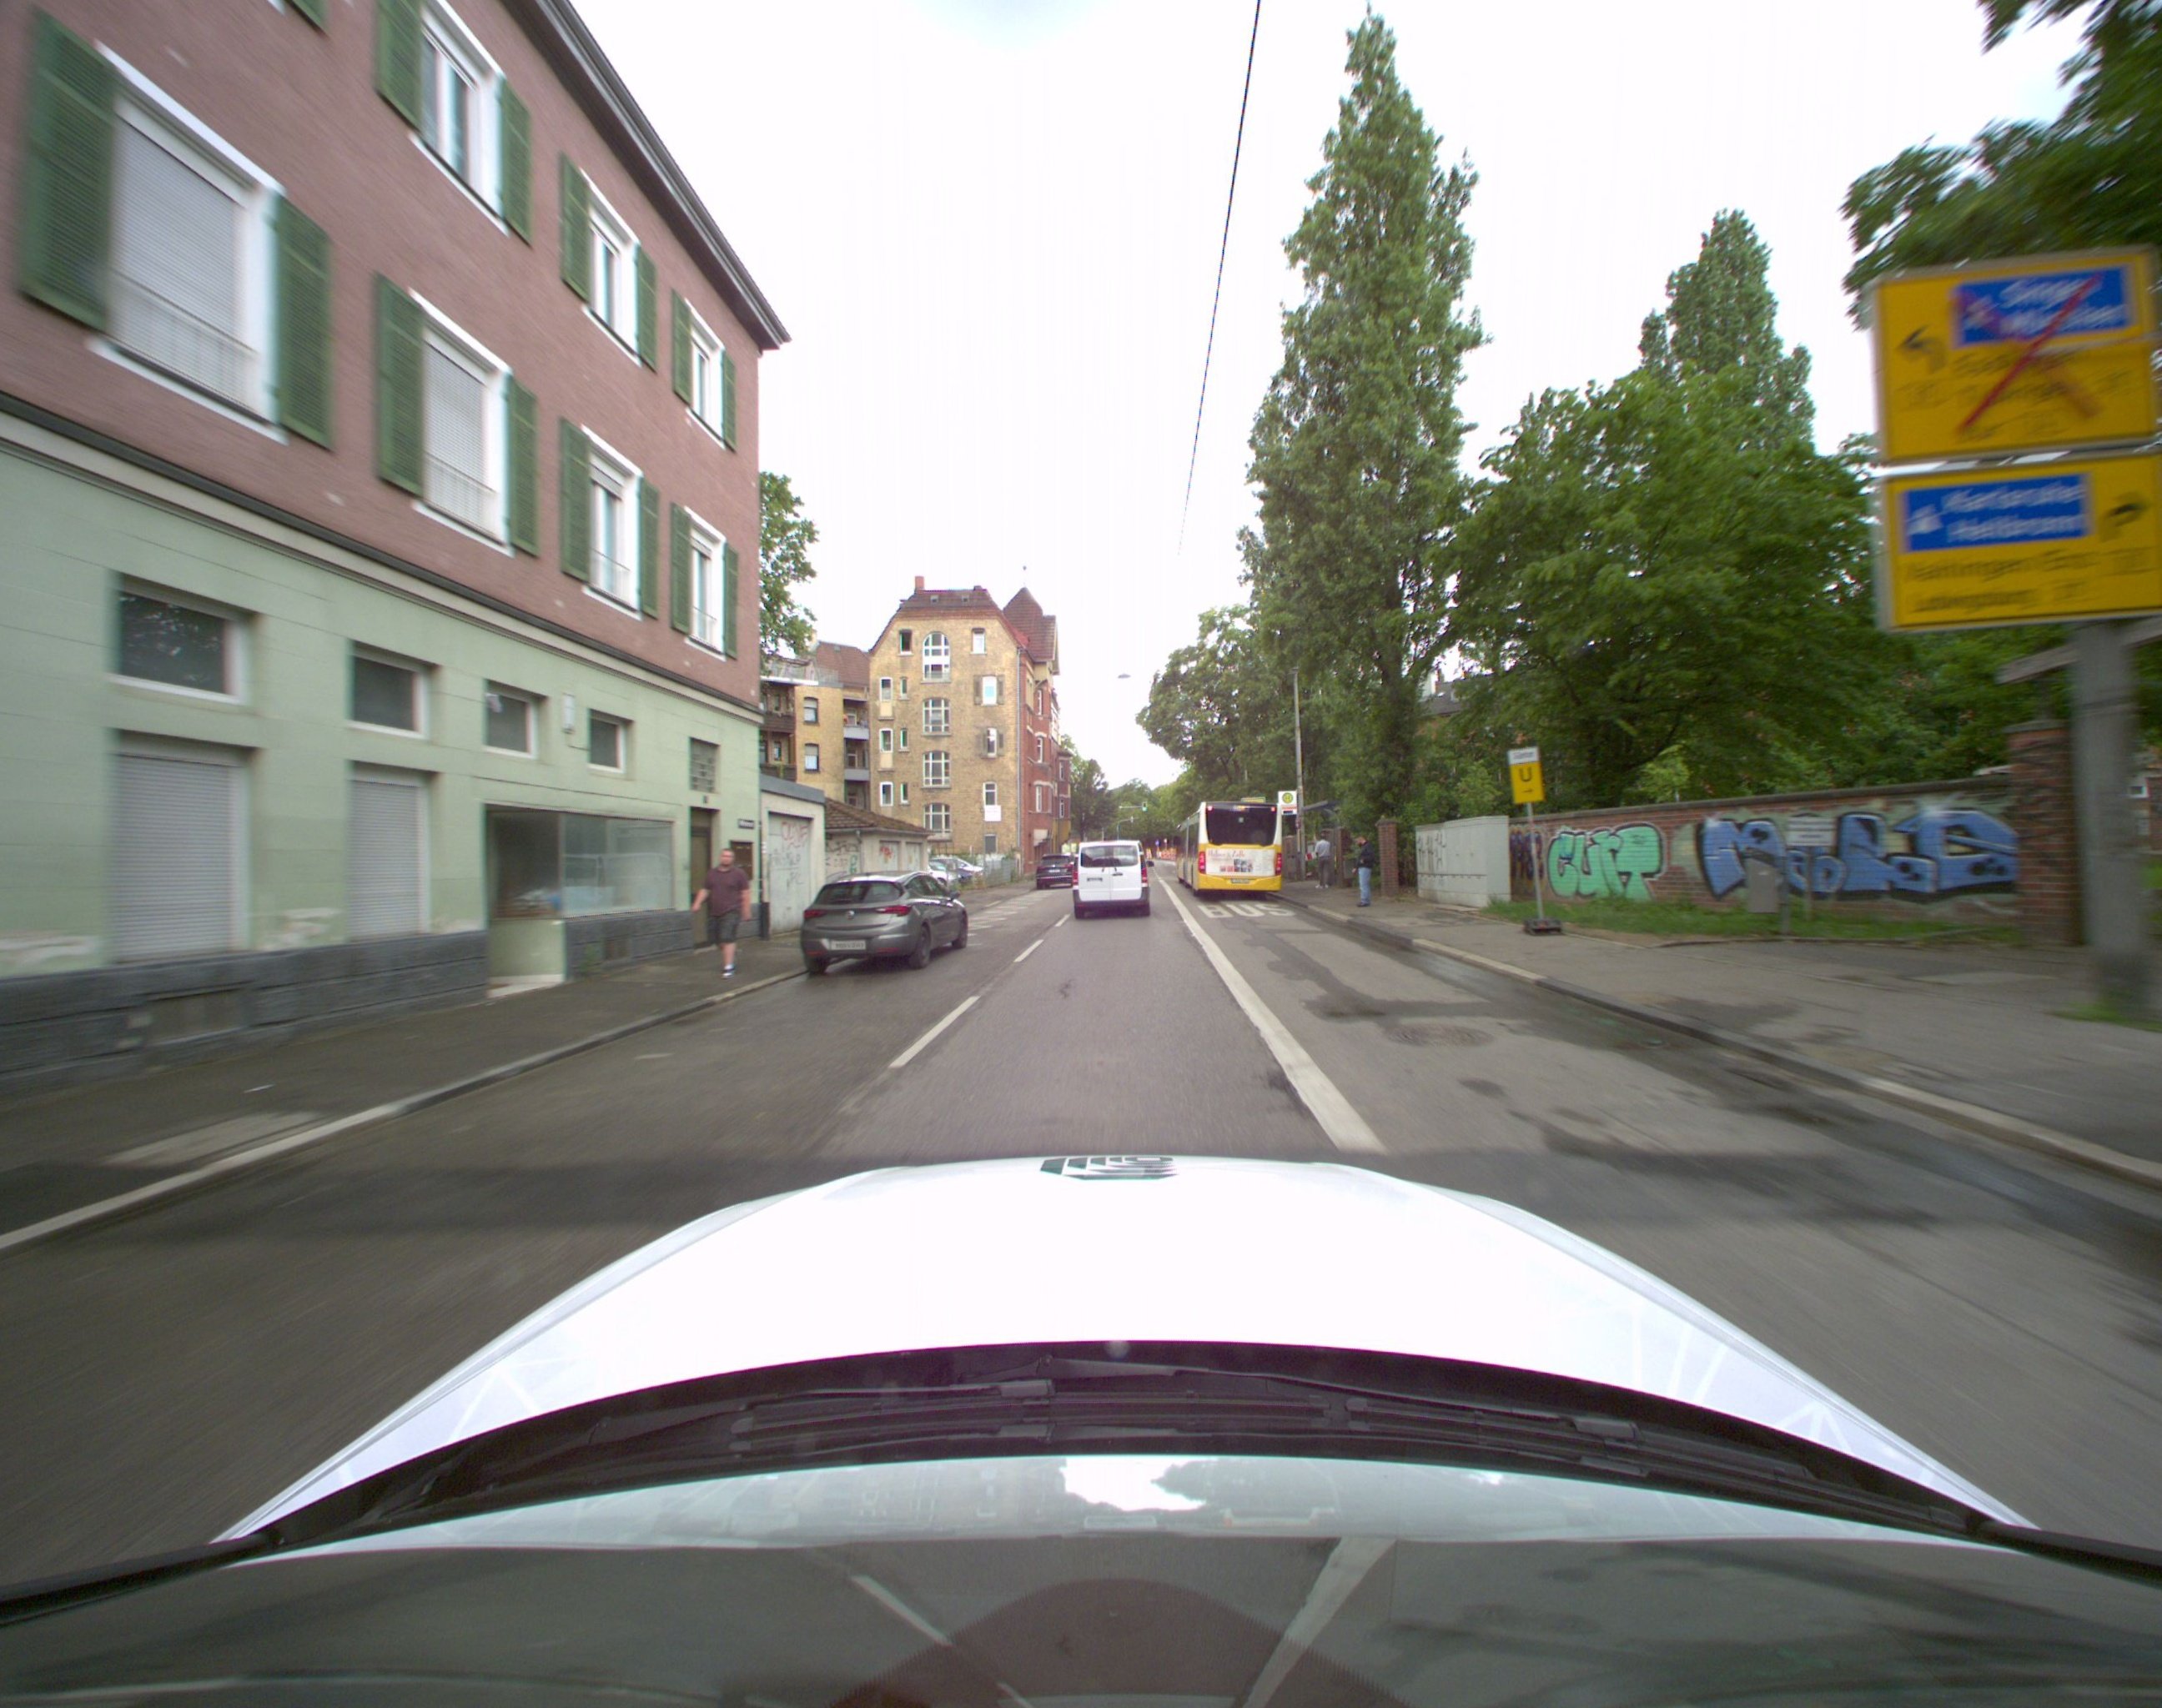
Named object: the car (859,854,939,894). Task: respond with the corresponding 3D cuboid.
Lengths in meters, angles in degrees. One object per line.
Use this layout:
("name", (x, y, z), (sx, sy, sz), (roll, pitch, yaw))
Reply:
("car", (-7.804, 0.843, 35.116), (2.834, 1.565, 1.856), (-3, 0, 4))

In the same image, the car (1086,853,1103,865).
("car", (1.819, 0.667, 110.358), (2.033, 1.485, 4.385), (-1, 2, -4))

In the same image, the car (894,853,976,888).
("car", (-7.261, 0.799, 40.697), (3.579, 1.504, 1.856), (-3, 0, 4))

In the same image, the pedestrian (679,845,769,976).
("pedestrian", (-4.973, 0.758, 11.412), (0.758, 1.744, 0.985), (1, -1, 2))

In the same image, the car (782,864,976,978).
("car", (-3.074, 0.957, 13.372), (1.870, 1.486, 4.132), (0, 0, 4))

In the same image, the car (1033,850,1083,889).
("car", (-1.052, 0.709, 40.283), (1.945, 1.734, 4.779), (-1, 0, 4))

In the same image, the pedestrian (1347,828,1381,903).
("pedestrian", (6.902, 0.283, 19.873), (0.579, 1.779, 0.822), (0, -1, 4))

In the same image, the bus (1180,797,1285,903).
("bus", (5.115, -0.130, 29.241), (2.650, 3.136, 10.053), (0, 0, 5))

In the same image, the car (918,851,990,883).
("car", (-7.134, 0.714, 45.932), (3.579, 1.612, 1.691), (-3, 0, 4))

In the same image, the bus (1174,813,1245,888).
("bus", (5.911, -0.149, 38.839), (2.659, 3.138, 9.229), (0, 0, 5))

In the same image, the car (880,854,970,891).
("car", (-7.276, 0.859, 38.143), (3.706, 1.504, 1.856), (-3, 0, 4))

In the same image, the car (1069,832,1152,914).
("car", (0.798, 0.515, 21.474), (1.910, 1.902, 4.703), (1, -2, 2))

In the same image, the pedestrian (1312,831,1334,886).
("pedestrian", (8.084, 0.160, 27.178), (0.448, 1.779, 0.672), (-4, -1, 4))
